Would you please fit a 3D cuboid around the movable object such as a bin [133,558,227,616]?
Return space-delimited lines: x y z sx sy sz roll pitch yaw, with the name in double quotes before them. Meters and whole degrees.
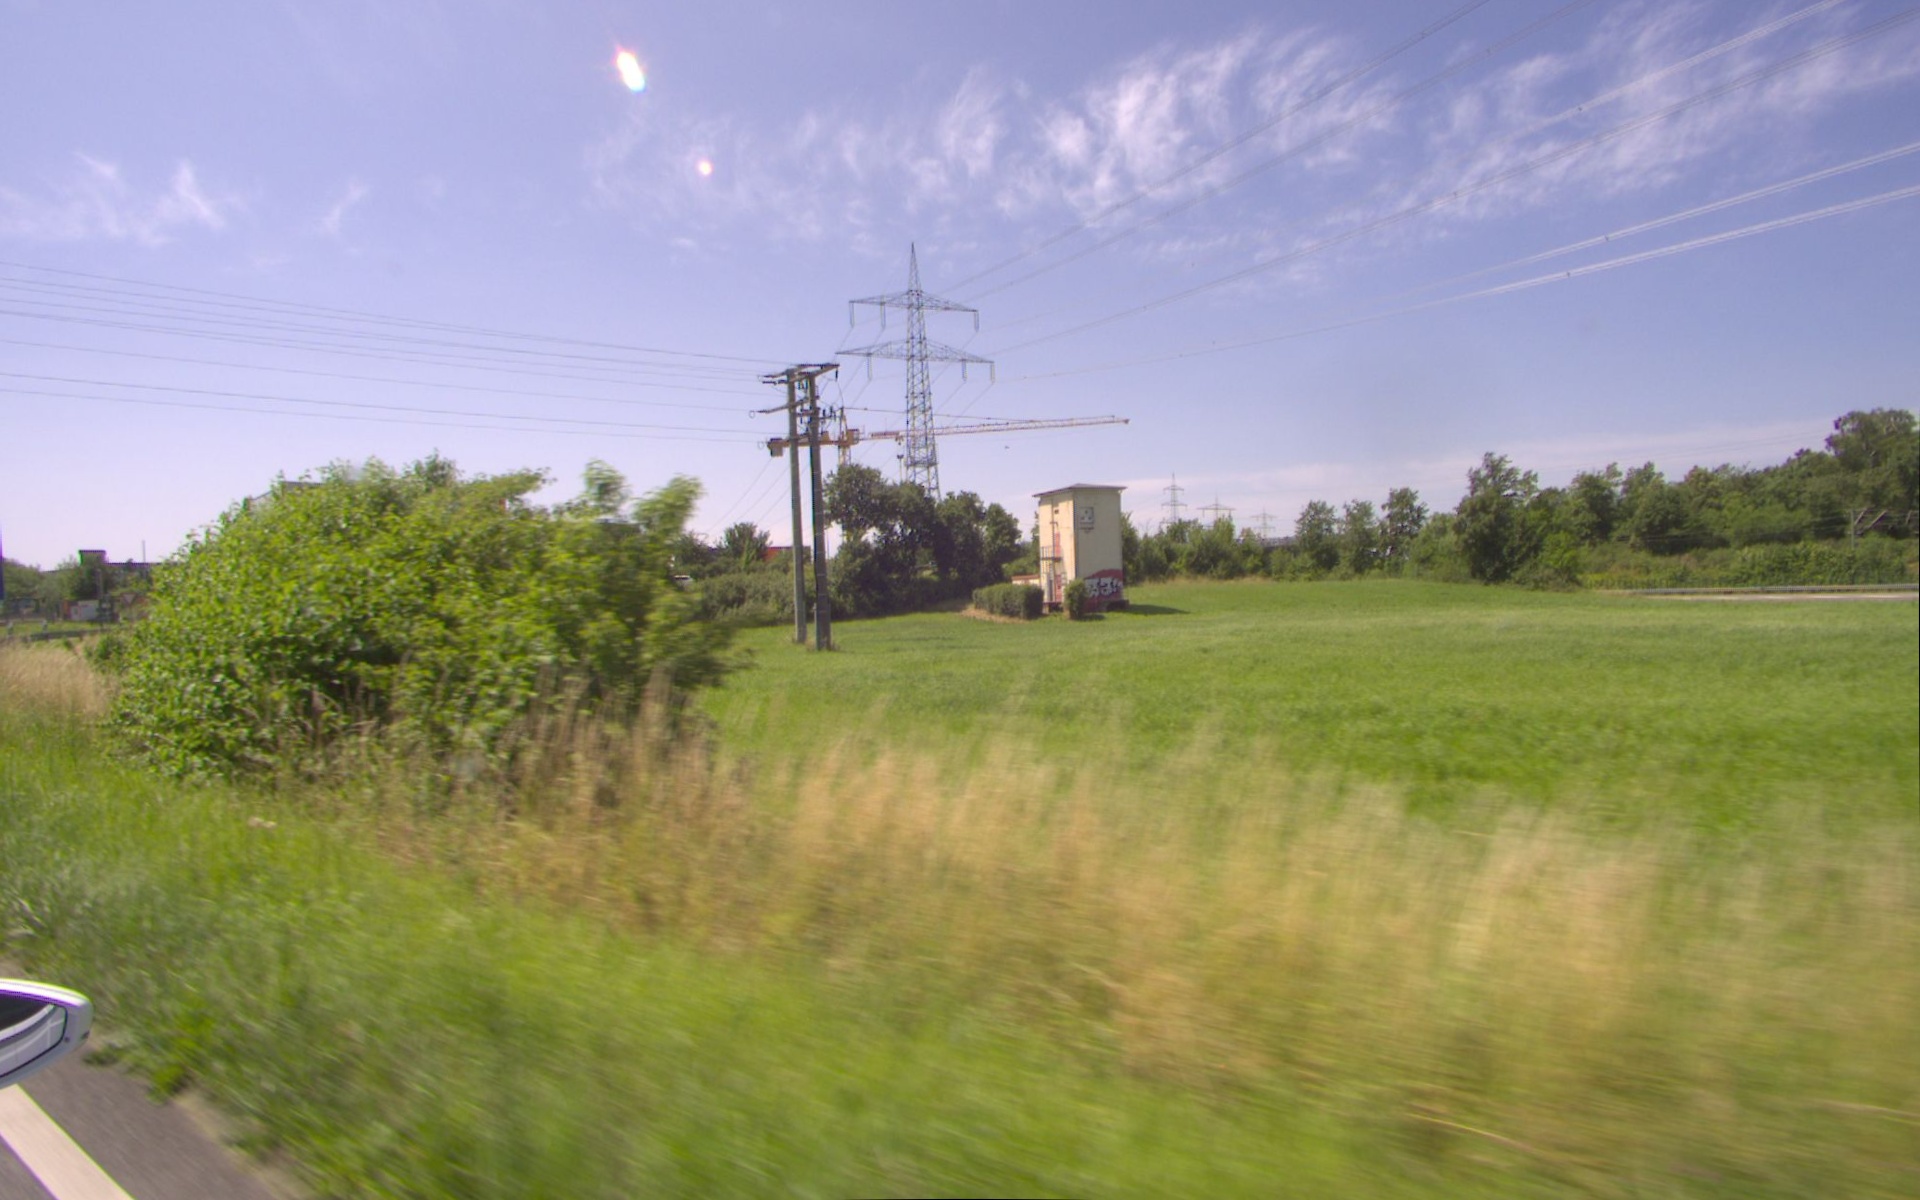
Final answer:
"movable object such as a bin" -74.744 -1.157 96.022 3.768 5.213 6.552 -3 -2 44

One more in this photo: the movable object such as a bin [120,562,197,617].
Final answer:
"movable object such as a bin" -81.473 -1.011 101.784 3.189 5.336 5.683 -3 -2 44

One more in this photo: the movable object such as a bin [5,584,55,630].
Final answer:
"movable object such as a bin" -73.103 0.569 78.677 5.045 3.291 2.311 -4 -2 41

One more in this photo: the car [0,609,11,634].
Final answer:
"car" -61.351 1.439 61.332 1.893 1.528 4.486 -1 2 41
